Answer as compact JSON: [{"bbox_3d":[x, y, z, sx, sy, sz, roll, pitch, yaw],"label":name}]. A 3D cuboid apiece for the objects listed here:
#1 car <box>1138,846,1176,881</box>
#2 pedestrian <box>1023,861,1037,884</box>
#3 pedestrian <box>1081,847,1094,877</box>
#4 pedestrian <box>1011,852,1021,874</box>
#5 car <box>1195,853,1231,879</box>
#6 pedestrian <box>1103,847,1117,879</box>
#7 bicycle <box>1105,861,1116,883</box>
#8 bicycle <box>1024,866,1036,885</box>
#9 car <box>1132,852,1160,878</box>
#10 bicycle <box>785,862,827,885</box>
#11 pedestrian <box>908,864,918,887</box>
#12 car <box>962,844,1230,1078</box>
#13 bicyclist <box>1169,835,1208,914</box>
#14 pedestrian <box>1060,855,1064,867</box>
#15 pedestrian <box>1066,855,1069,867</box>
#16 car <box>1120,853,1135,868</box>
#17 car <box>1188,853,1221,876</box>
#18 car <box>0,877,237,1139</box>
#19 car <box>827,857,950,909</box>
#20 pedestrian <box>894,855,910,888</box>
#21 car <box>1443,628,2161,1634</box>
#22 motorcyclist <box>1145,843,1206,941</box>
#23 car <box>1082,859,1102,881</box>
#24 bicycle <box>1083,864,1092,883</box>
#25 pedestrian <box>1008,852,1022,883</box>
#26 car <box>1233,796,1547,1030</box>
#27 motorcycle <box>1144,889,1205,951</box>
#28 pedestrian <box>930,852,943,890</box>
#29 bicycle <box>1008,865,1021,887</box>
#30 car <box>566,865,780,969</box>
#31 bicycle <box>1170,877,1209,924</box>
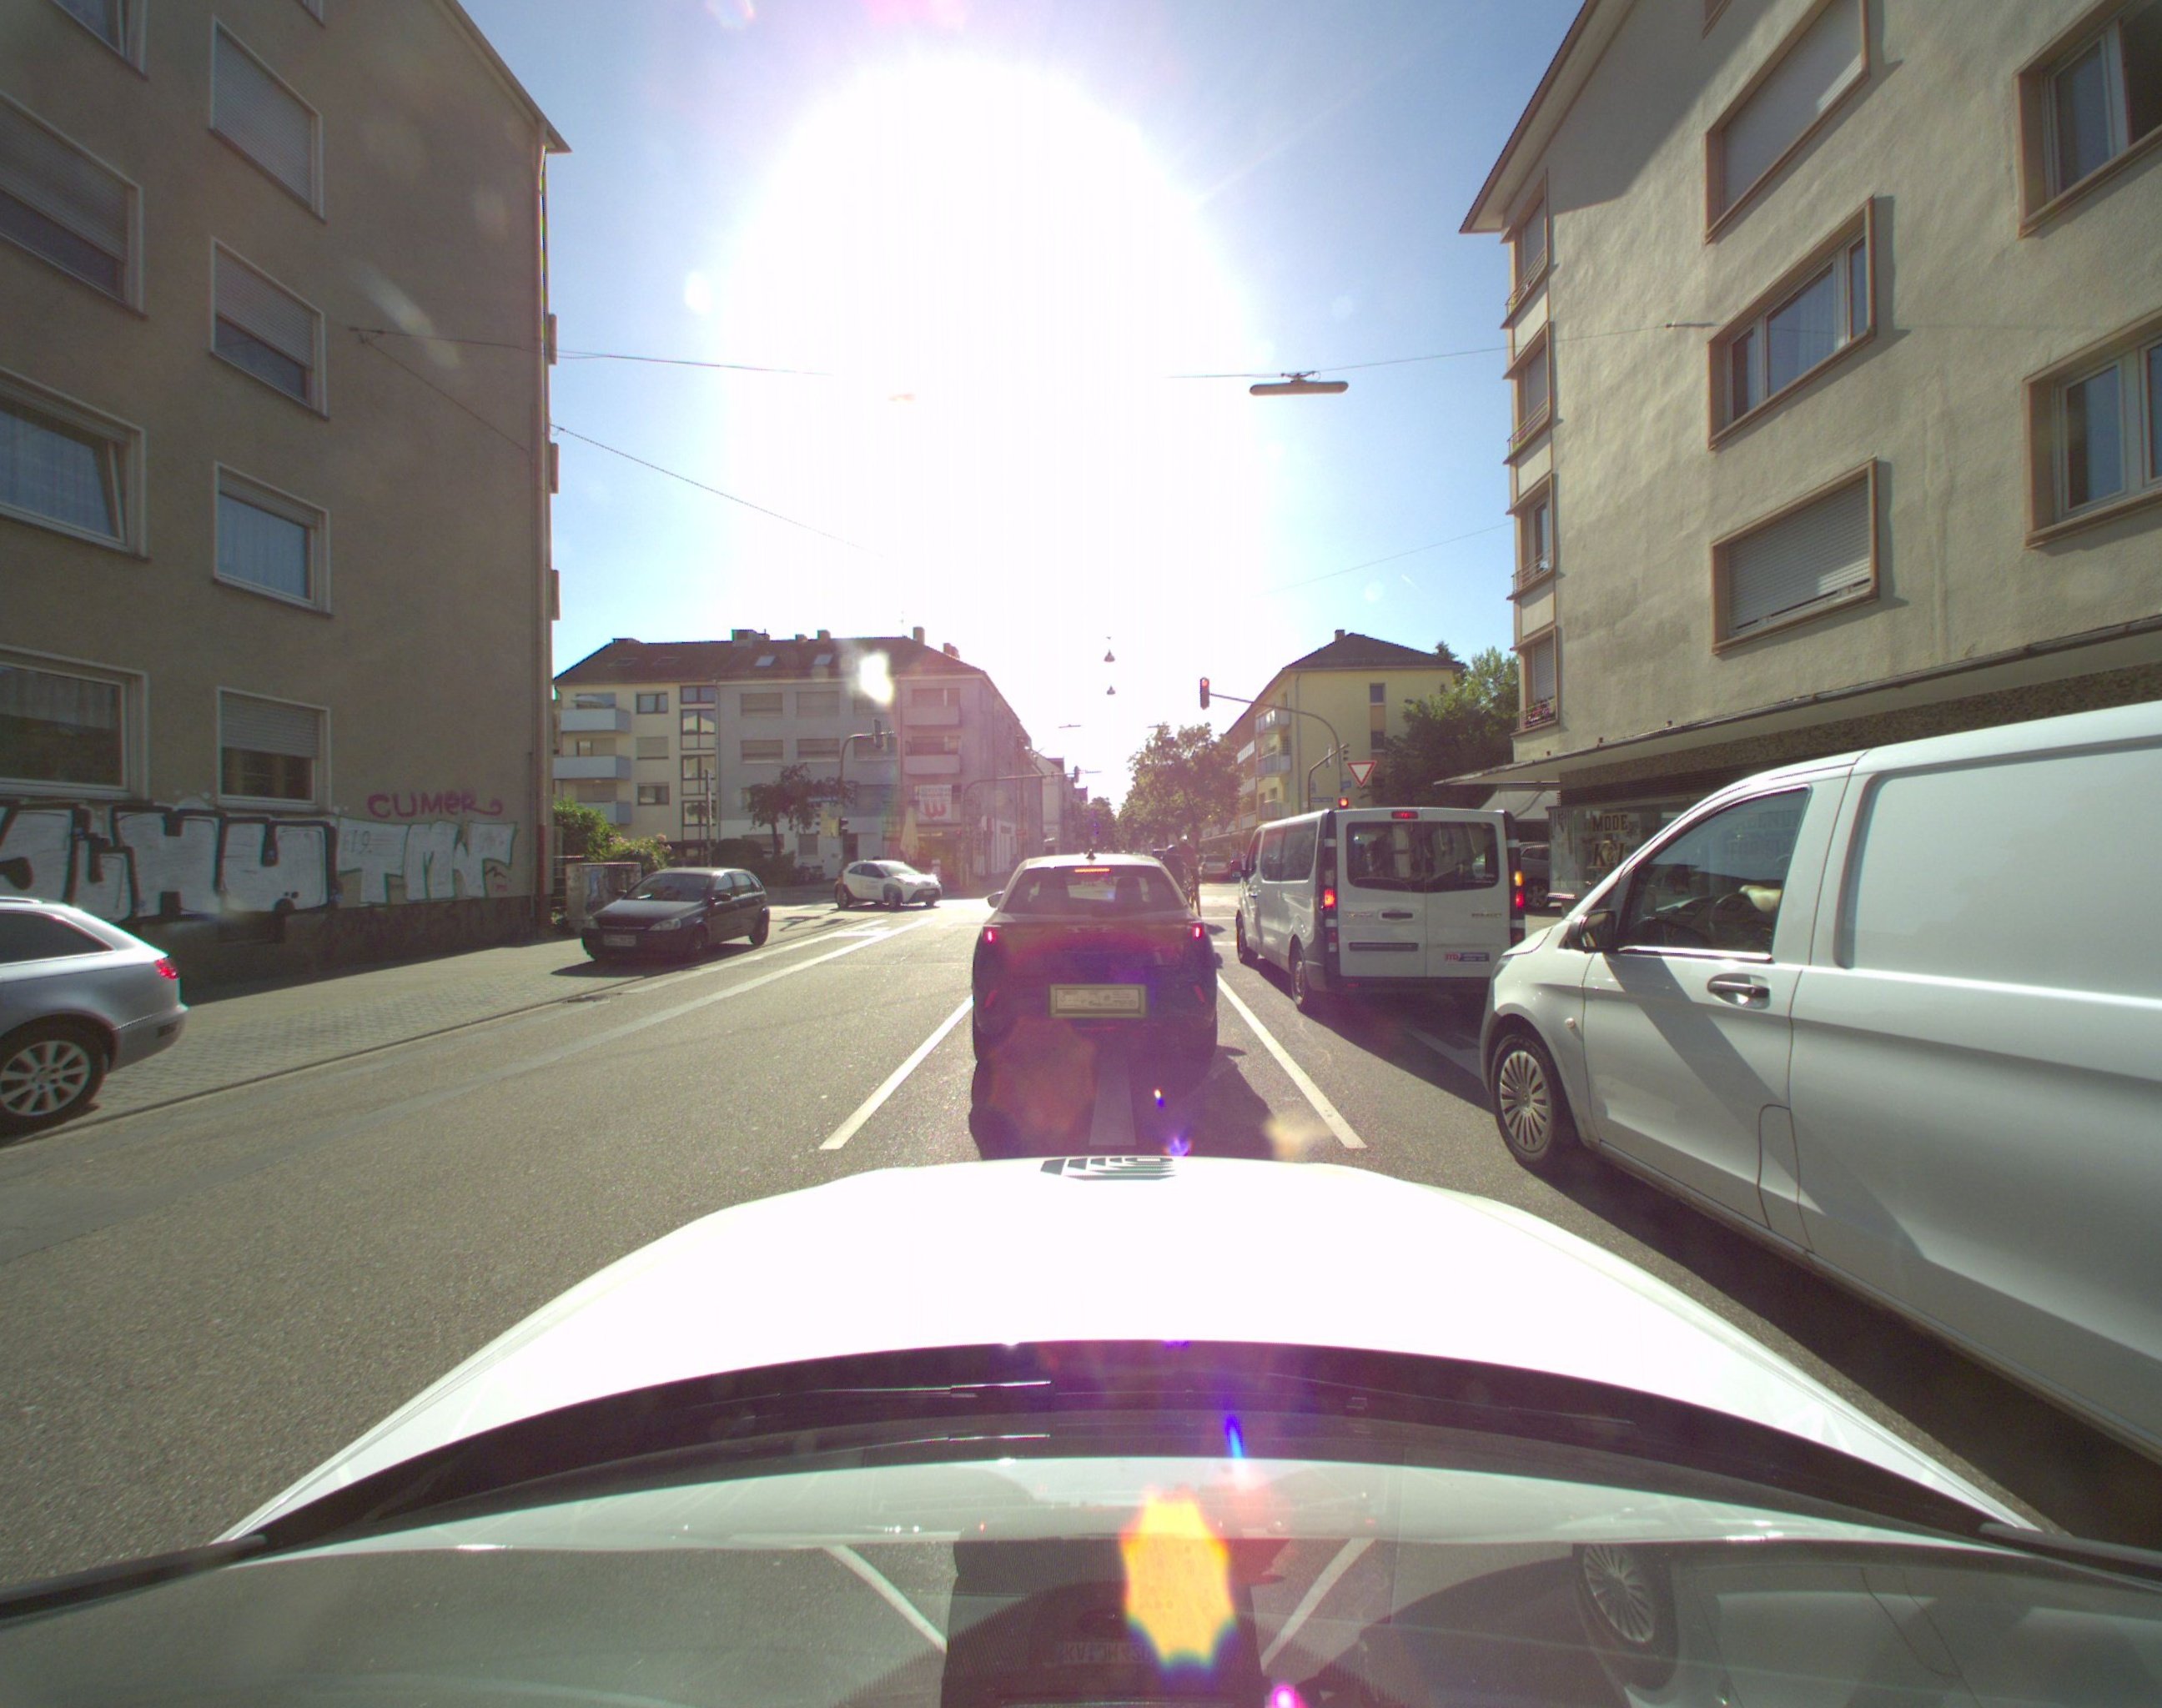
[{"bbox_3d":[4.004,0.464,43.226,1.893,1.728,4.078,-1,0,4],"label":"car"},{"bbox_3d":[-2.822,0.999,44.803,0.704,1.253,0.802,-1,0,0],"label":"pedestrian"},{"bbox_3d":[0.380,0.435,44.660,0.677,1.606,0.762,-1,0,0],"label":"pedestrian"},{"bbox_3d":[-4.571,0.657,57.582,0.615,1.521,0.724,-1,0,-1],"label":"pedestrian"},{"bbox_3d":[7.763,0.659,48.074,1.628,1.433,3.959,-1,0,2],"label":"car"},{"bbox_3d":[1.602,0.502,44.692,0.704,1.701,0.802,-1,0,0],"label":"pedestrian"},{"bbox_3d":[1.614,0.991,44.779,0.520,1.147,2.170,-1,0,0],"label":"bicycle"},{"bbox_3d":[-2.814,1.173,45.084,0.520,0.992,2.339,-1,0,0],"label":"bicycle"},{"bbox_3d":[4.625,0.747,58.418,1.894,1.728,4.003,-1,0,3],"label":"car"},{"bbox_3d":[-14.898,1.071,44.166,2.102,1.172,0.735,-1,0,-22],"label":"bicycle"},{"bbox_3d":[-8.017,1.011,38.851,0.354,1.092,0.461,-1,0,-1],"label":"pedestrian"},{"bbox_3d":[0.118,0.713,7.446,1.765,1.530,4.000,-1,0,0],"label":"car"},{"bbox_3d":[2.425,0.453,18.482,0.687,1.712,1.414,-1,0,0],"label":"bicyclist"},{"bbox_3d":[-2.654,1.049,114.257,0.400,1.675,0.418,-1,0,2],"label":"pedestrian"},{"bbox_3d":[-1.841,0.966,113.884,0.400,1.675,0.418,-1,0,2],"label":"pedestrian"},{"bbox_3d":[6.431,0.827,112.741,1.848,2.013,3.883,-1,0,2],"label":"car"},{"bbox_3d":[7.990,0.643,52.835,1.628,1.433,4.002,-1,0,2],"label":"car"},{"bbox_3d":[-7.097,0.904,3.547,1.711,1.465,4.817,0,0,2],"label":"car"},{"bbox_3d":[-6.319,0.925,26.641,3.737,1.536,1.782,-1,1,32],"label":"car"},{"bbox_3d":[-8.541,0.831,38.819,0.582,1.521,0.649,-1,0,-1],"label":"pedestrian"},{"bbox_3d":[2.926,0.502,2.103,1.830,1.869,4.997,-1,0,1],"label":"car"},{"bbox_3d":[1.511,0.586,13.231,0.861,1.502,1.160,-1,0,1],"label":"motorcyclist"},{"bbox_3d":[1.121,1.582,81.527,1.842,2.013,4.002,-1,0,2],"label":"car"},{"bbox_3d":[0.360,1.049,44.759,0.442,0.992,2.069,-1,0,0],"label":"bicycle"},{"bbox_3d":[-3.641,0.735,44.885,0.704,1.678,0.802,-1,0,0],"label":"pedestrian"},{"bbox_3d":[3.081,0.490,9.376,1.985,1.979,4.899,0,0,3],"label":"car"},{"bbox_3d":[1.499,1.044,13.335,0.822,0.845,1.885,-1,0,2],"label":"motorcycle"},{"bbox_3d":[-6.998,0.816,39.376,0.560,1.775,0.582,-1,0,-7],"label":"pedestrian"},{"bbox_3d":[-3.685,1.229,45.083,0.520,1.147,2.283,-1,0,0],"label":"bicycle"},{"bbox_3d":[-6.667,0.953,13.785,1.610,1.425,3.712,1,0,2],"label":"car"},{"bbox_3d":[2.425,1.019,18.420,0.575,0.904,2.301,-1,0,0],"label":"bicycle"}]
